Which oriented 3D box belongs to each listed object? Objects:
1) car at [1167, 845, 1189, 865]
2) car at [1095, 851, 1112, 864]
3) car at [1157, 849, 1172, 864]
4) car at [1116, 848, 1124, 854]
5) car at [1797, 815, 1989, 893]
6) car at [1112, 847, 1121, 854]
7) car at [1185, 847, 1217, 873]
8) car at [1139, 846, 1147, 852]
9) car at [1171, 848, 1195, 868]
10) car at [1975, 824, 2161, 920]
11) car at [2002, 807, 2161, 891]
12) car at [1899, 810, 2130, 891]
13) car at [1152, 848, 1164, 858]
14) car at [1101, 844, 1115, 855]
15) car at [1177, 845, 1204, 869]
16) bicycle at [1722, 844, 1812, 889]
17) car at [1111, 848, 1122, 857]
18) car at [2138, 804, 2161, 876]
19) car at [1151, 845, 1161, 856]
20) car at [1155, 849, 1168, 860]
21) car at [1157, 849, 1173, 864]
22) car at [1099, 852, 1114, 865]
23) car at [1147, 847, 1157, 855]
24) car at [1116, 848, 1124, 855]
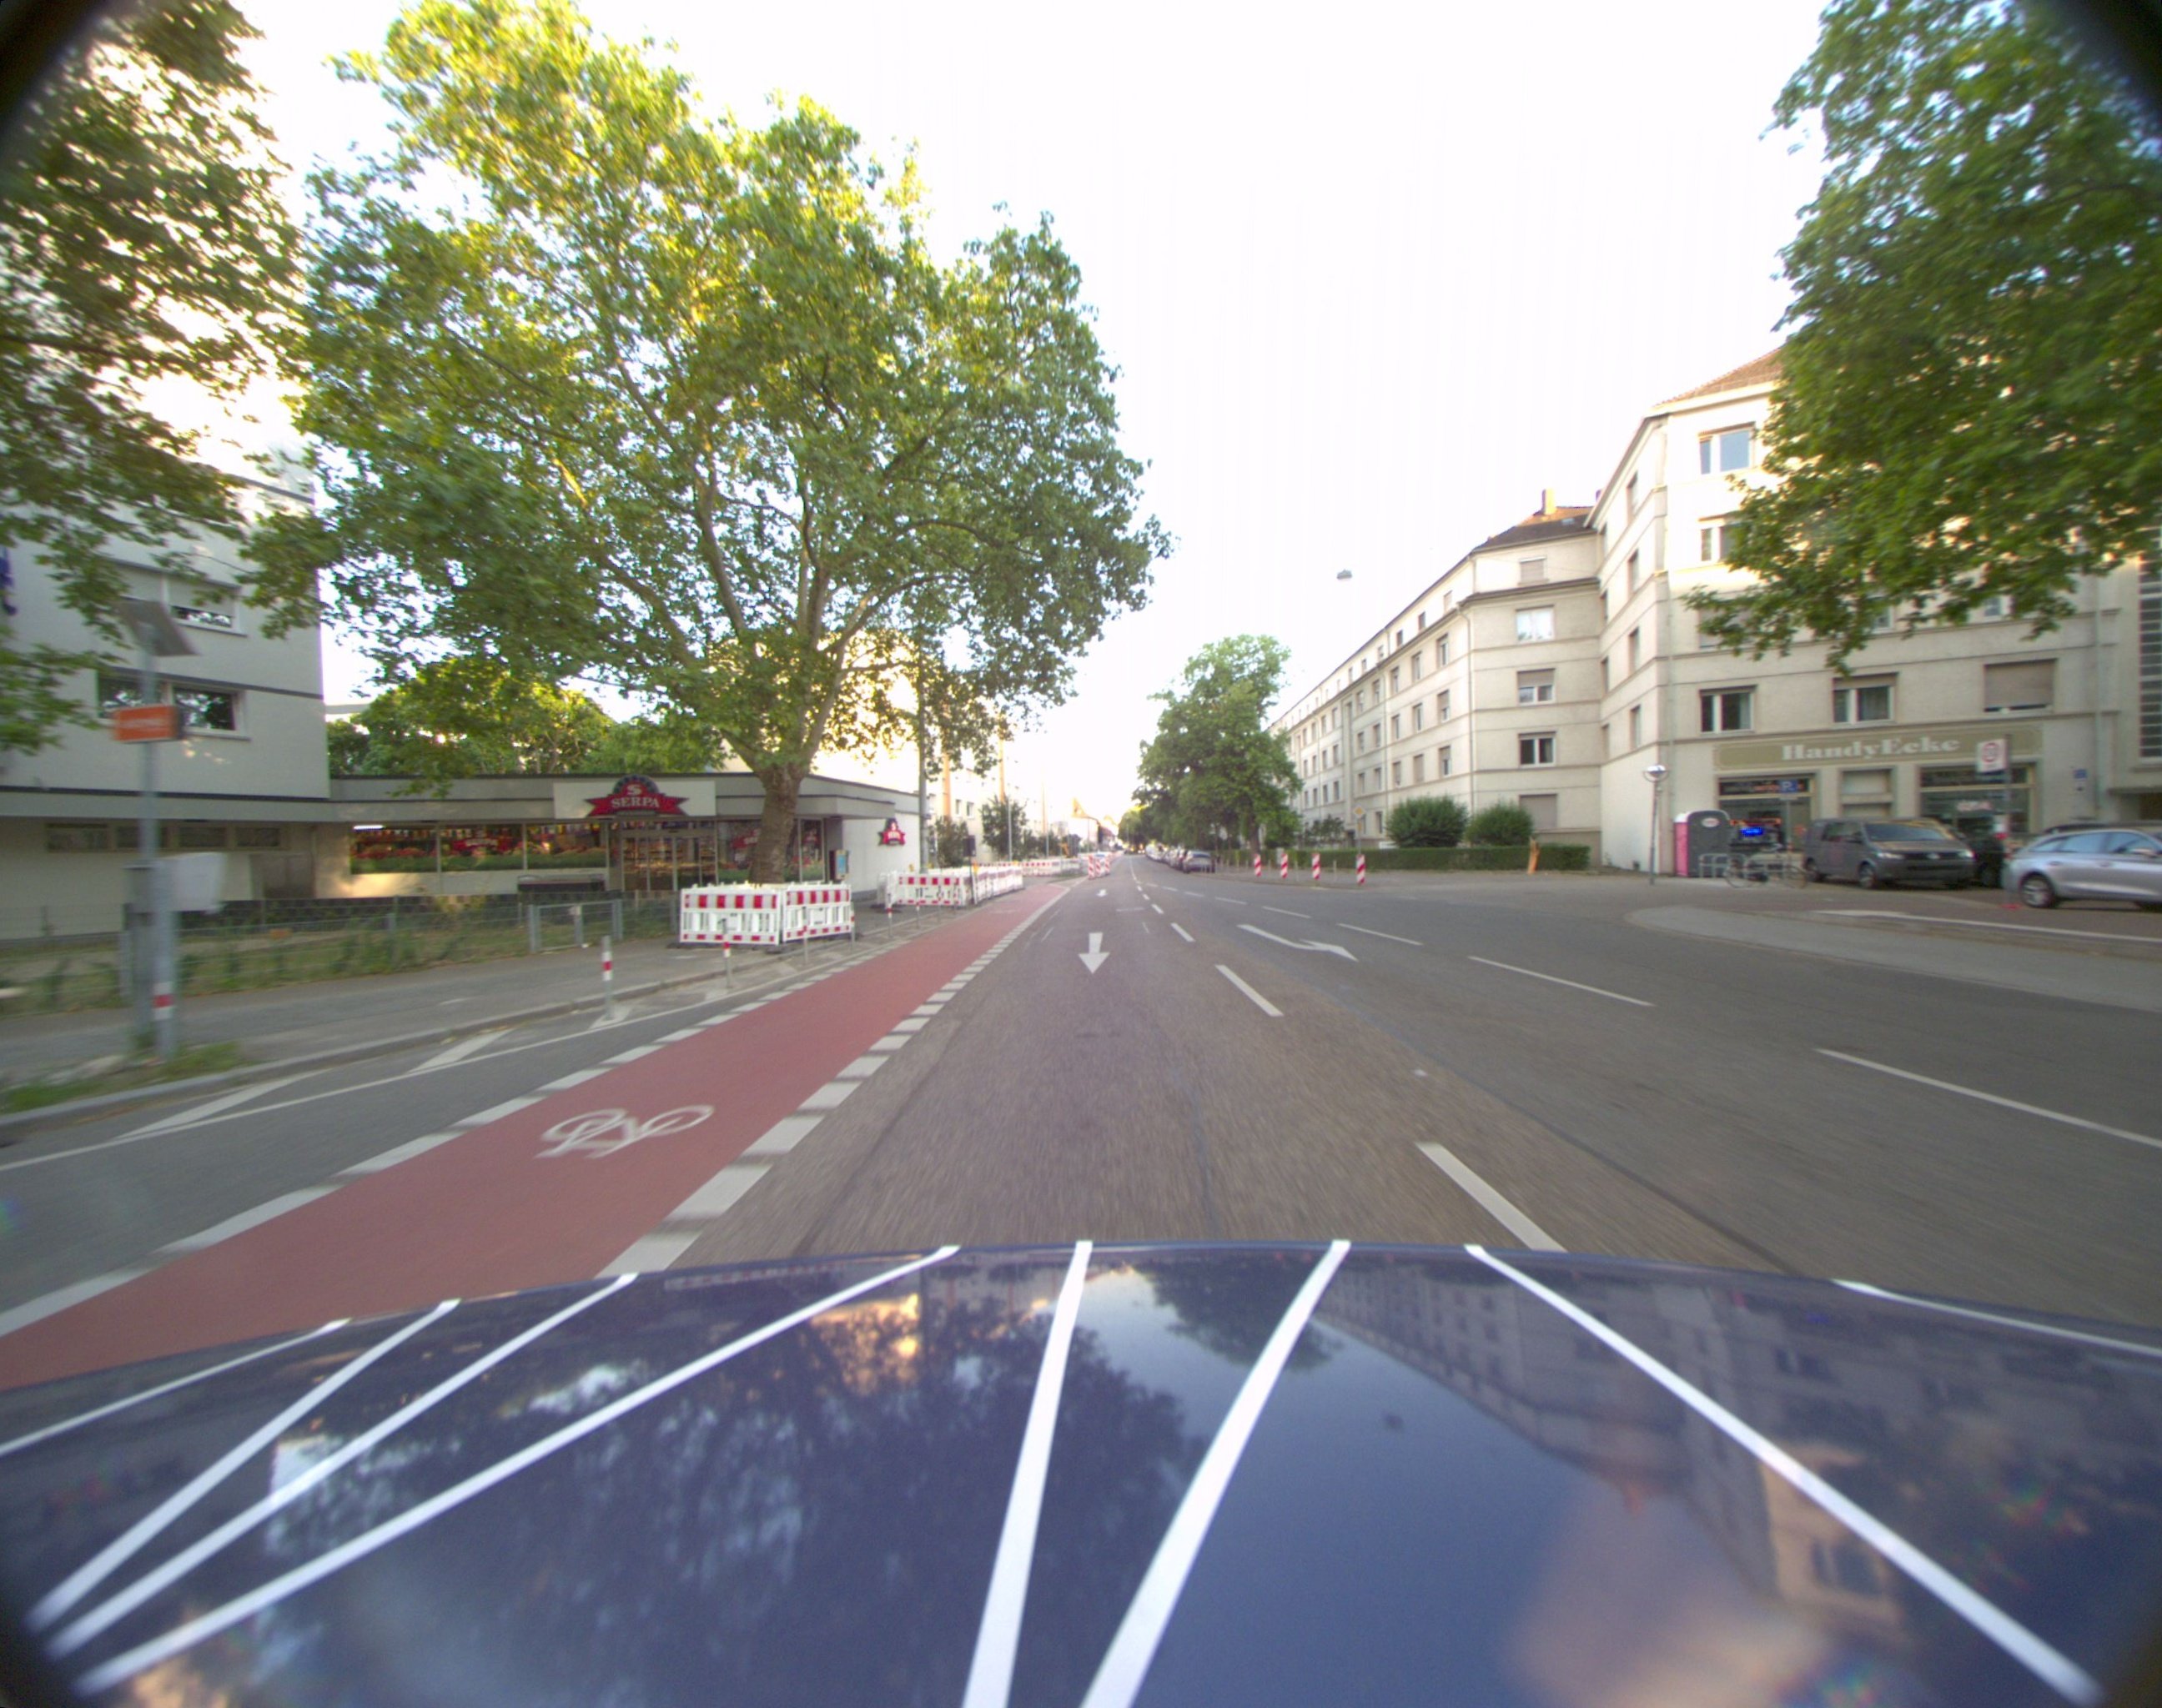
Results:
[{"bbox_3d":[9.306,0.076,73.310,1.892,1.764,4.260,-2,1,6],"label":"car"},{"bbox_3d":[2.939,0.443,98.943,1.892,1.591,4.260,-2,1,6],"label":"car"},{"bbox_3d":[11.625,0.334,106.111,1.892,1.855,4.260,-2,1,6],"label":"car"},{"bbox_3d":[9.921,-0.773,194.366,1.892,1.591,4.260,-2,1,6],"label":"car"},{"bbox_3d":[22.583,-0.100,21.441,1.995,1.945,4.646,0,3,24],"label":"car"},{"bbox_3d":[8.632,-0.836,182.735,1.892,1.591,4.260,-2,1,6],"label":"car"},{"bbox_3d":[8.166,0.355,52.124,1.892,1.591,4.001,-2,1,6],"label":"car"},{"bbox_3d":[20.435,-1.775,249.795,1.999,1.838,3.998,-3,1,-3],"label":"car"},{"bbox_3d":[9.029,0.305,67.365,1.892,1.591,4.260,-2,1,6],"label":"car"},{"bbox_3d":[18.095,0.293,12.565,1.996,1.494,4.646,0,-1,15],"label":"car"},{"bbox_3d":[27.087,-0.220,19.797,1.995,1.945,4.646,0,3,24],"label":"car"},{"bbox_3d":[24.936,-0.194,20.616,1.995,1.945,4.646,0,3,24],"label":"car"},{"bbox_3d":[13.225,-0.141,130.694,1.892,1.591,4.260,-2,1,6],"label":"car"},{"bbox_3d":[4.254,-0.723,119.738,1.892,1.651,4.260,-2,1,6],"label":"car"},{"bbox_3d":[8.614,0.213,60.067,1.892,1.681,4.260,-2,1,6],"label":"car"},{"bbox_3d":[19.374,0.363,21.504,1.802,1.199,0.648,-2,2,33],"label":"bicycle"},{"bbox_3d":[7.226,-0.358,154.124,1.892,1.591,4.260,-2,1,6],"label":"car"},{"bbox_3d":[29.583,-0.305,18.706,1.995,1.945,4.646,0,3,24],"label":"car"},{"bbox_3d":[13.975,-0.674,141.542,1.892,1.868,4.946,-2,1,6],"label":"car"},{"bbox_3d":[12.189,0.083,115.770,1.892,1.591,4.260,-2,1,6],"label":"car"},{"bbox_3d":[10.750,0.303,97.136,1.892,1.815,4.260,-2,1,6],"label":"car"},{"bbox_3d":[3.763,0.580,111.229,1.892,1.726,4.260,-2,1,6],"label":"car"},{"bbox_3d":[15.328,-0.683,163.979,1.892,1.591,4.260,-2,1,6],"label":"car"},{"bbox_3d":[10.493,-0.733,203.605,1.892,1.591,4.260,-2,1,6],"label":"car"}]
